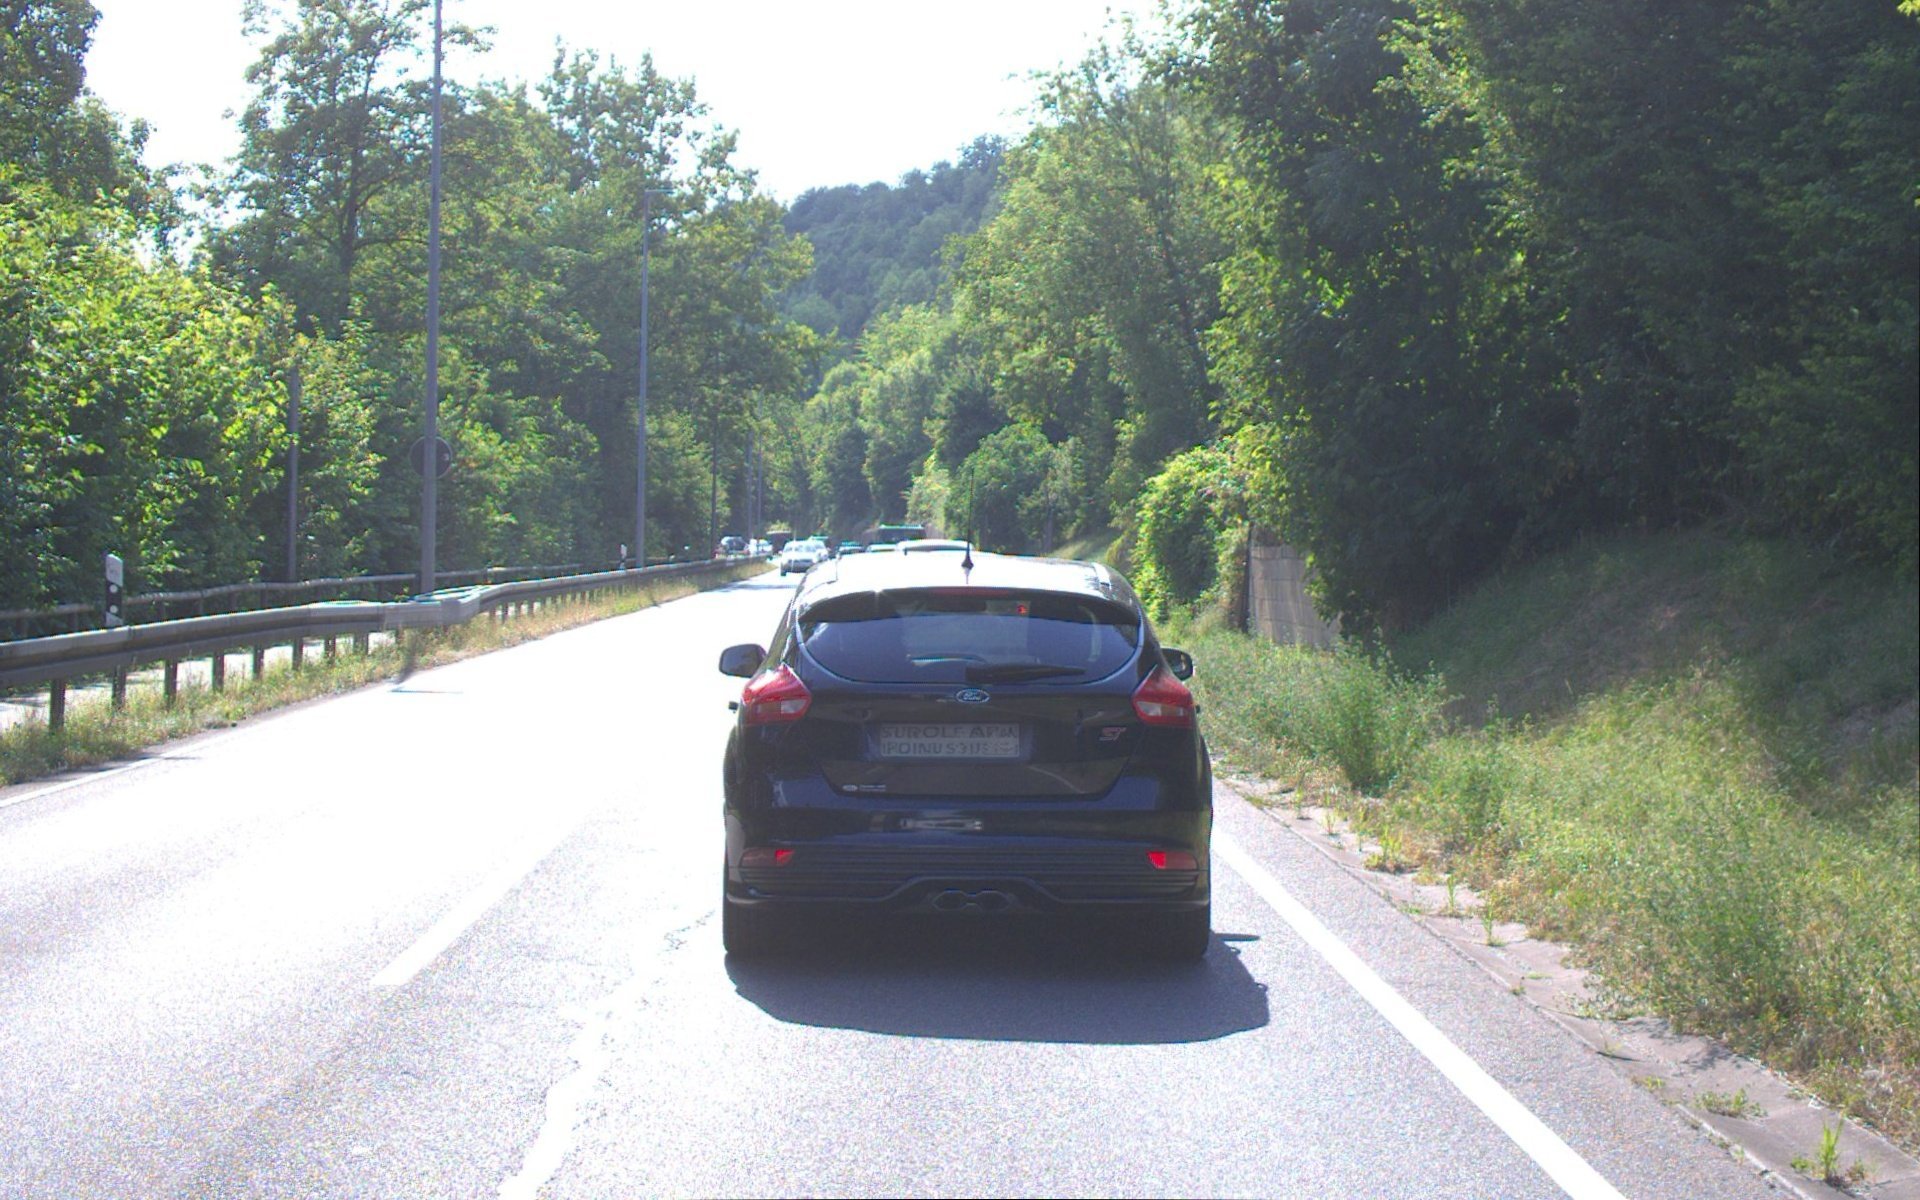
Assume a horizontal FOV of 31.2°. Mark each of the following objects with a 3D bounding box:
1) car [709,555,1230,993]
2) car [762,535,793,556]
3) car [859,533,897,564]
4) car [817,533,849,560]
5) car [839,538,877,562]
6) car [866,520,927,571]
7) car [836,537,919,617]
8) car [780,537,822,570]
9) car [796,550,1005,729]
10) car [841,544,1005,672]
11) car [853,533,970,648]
[{"bbox_3d":[0.010,0.564,13.619,1.739,1.451,4.000,1,1,-1],"label":"car"},{"bbox_3d":[-13.733,-4.090,258.043,1.993,1.514,4.001,0,1,-8],"label":"car"},{"bbox_3d":[-3.969,-2.499,166.720,1.819,1.514,4.000,0,1,-1],"label":"car"},{"bbox_3d":[-6.972,-2.920,188.445,1.681,1.458,4.198,0,1,-1],"label":"car"},{"bbox_3d":[-6.590,-3.218,221.282,1.993,1.514,4.001,0,1,-8],"label":"car"},{"bbox_3d":[-2.268,-1.947,121.831,1.862,1.774,4.001,0,1,-5],"label":"car"},{"bbox_3d":[-1.666,-0.491,70.416,1.631,1.590,4.000,0,1,-1],"label":"car"},{"bbox_3d":[-6.745,-1.996,146.131,1.623,1.372,4.048,-1,1,-1],"label":"car"},{"bbox_3d":[-0.450,0.287,29.487,1.661,1.413,4.000,0,1,1],"label":"car"},{"bbox_3d":[-0.427,0.052,39.754,1.804,1.387,4.000,0,1,-1],"label":"car"},{"bbox_3d":[-0.694,-0.172,49.913,1.631,1.590,4.000,0,1,-1],"label":"car"}]
